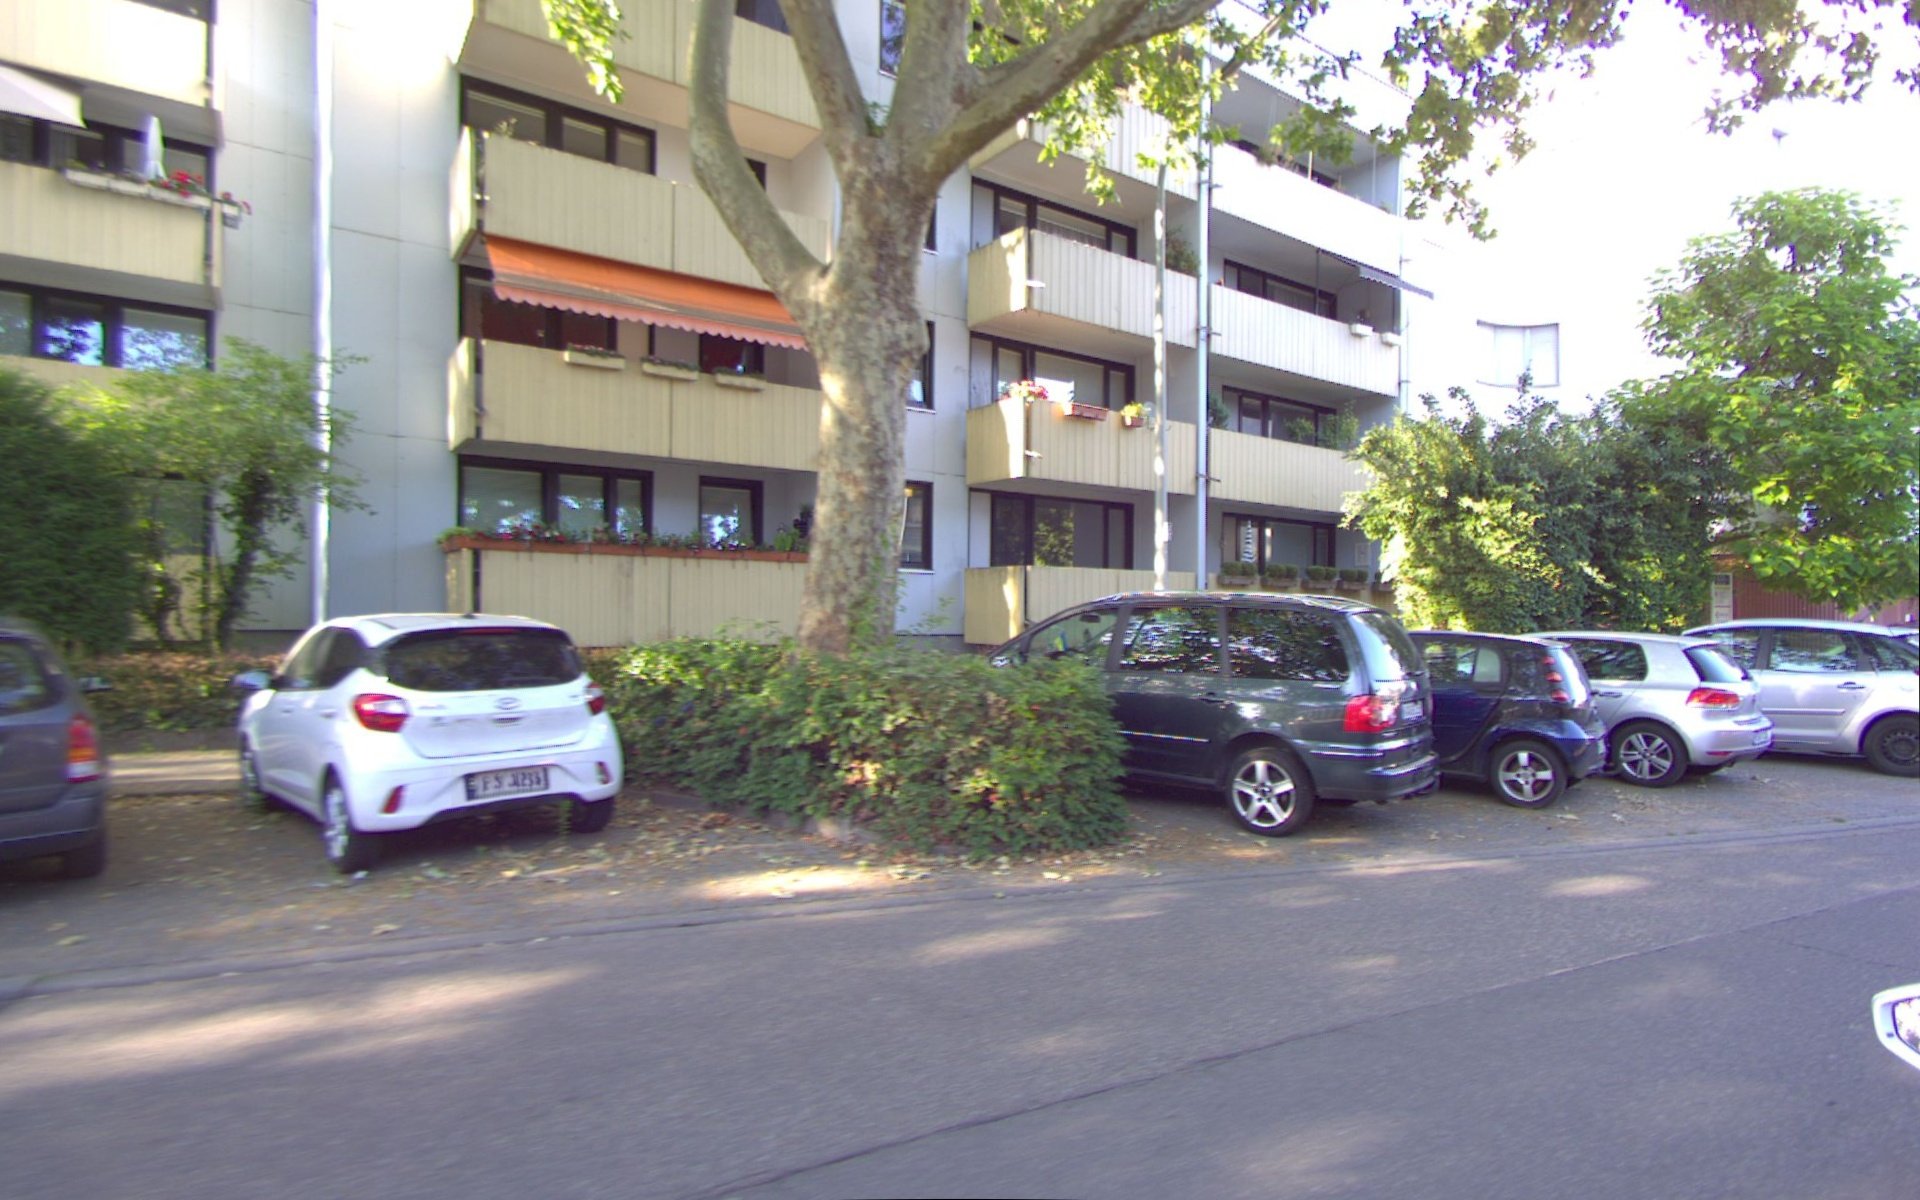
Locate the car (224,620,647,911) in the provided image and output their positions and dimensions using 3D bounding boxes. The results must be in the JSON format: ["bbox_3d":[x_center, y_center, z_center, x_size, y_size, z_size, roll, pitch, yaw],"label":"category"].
[{"bbox_3d":[-3.969,0.932,7.340,1.765,1.514,3.612,0,0,-45],"label":"car"}]

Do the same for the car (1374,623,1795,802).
[{"bbox_3d":[6.713,1.073,11.096,1.685,1.581,3.610,1,-1,-38],"label":"car"}]

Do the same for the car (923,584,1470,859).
[{"bbox_3d":[1.871,0.816,8.667,4.205,1.798,1.897,0,-1,40],"label":"car"}]

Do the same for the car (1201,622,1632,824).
[{"bbox_3d":[4.410,1.038,9.902,3.592,1.581,1.693,0,-1,38],"label":"car"}]

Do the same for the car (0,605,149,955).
[{"bbox_3d":[-6.076,0.866,5.915,1.640,1.683,3.601,2,-1,-45],"label":"car"}]

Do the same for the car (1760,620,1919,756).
[{"bbox_3d":[12.898,1.131,12.972,3.895,1.684,1.694,0,-1,35],"label":"car"}]

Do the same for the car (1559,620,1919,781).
[{"bbox_3d":[9.753,1.109,12.187,4.076,1.662,1.769,0,-1,39],"label":"car"}]
